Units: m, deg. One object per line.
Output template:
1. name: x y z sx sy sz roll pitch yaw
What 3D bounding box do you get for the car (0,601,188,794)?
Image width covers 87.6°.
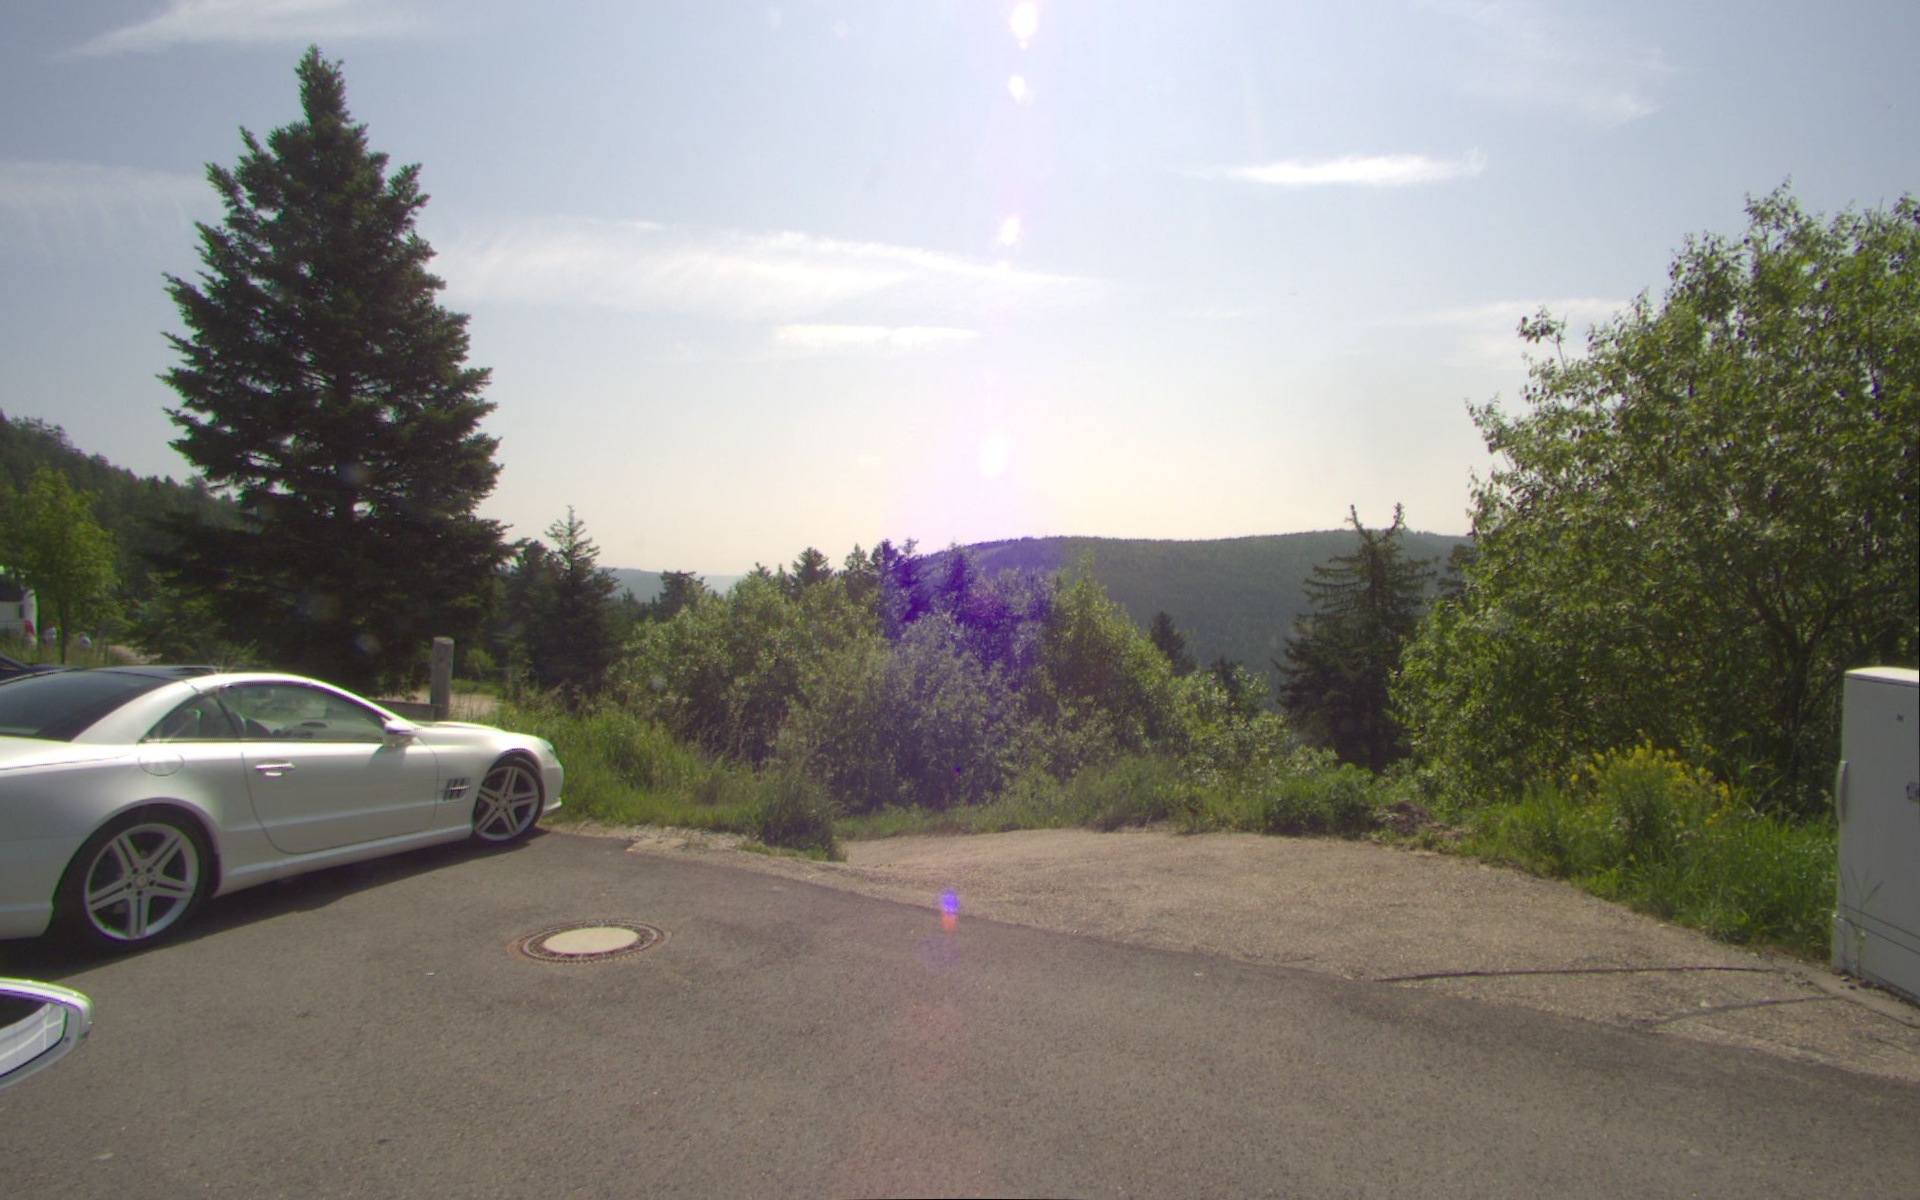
1. car: -9.430 0.802 8.362 1.843 1.646 4.339 -1 -4 32

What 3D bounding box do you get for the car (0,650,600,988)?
1. car: -4.255 0.984 6.018 1.723 1.312 4.410 1 -2 15

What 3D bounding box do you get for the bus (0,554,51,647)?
1. bus: -41.435 0.085 35.872 12.998 3.580 3.015 -1 1 -43

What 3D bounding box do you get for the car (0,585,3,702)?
1. car: -16.339 0.647 13.396 1.922 1.718 4.927 0 0 39
